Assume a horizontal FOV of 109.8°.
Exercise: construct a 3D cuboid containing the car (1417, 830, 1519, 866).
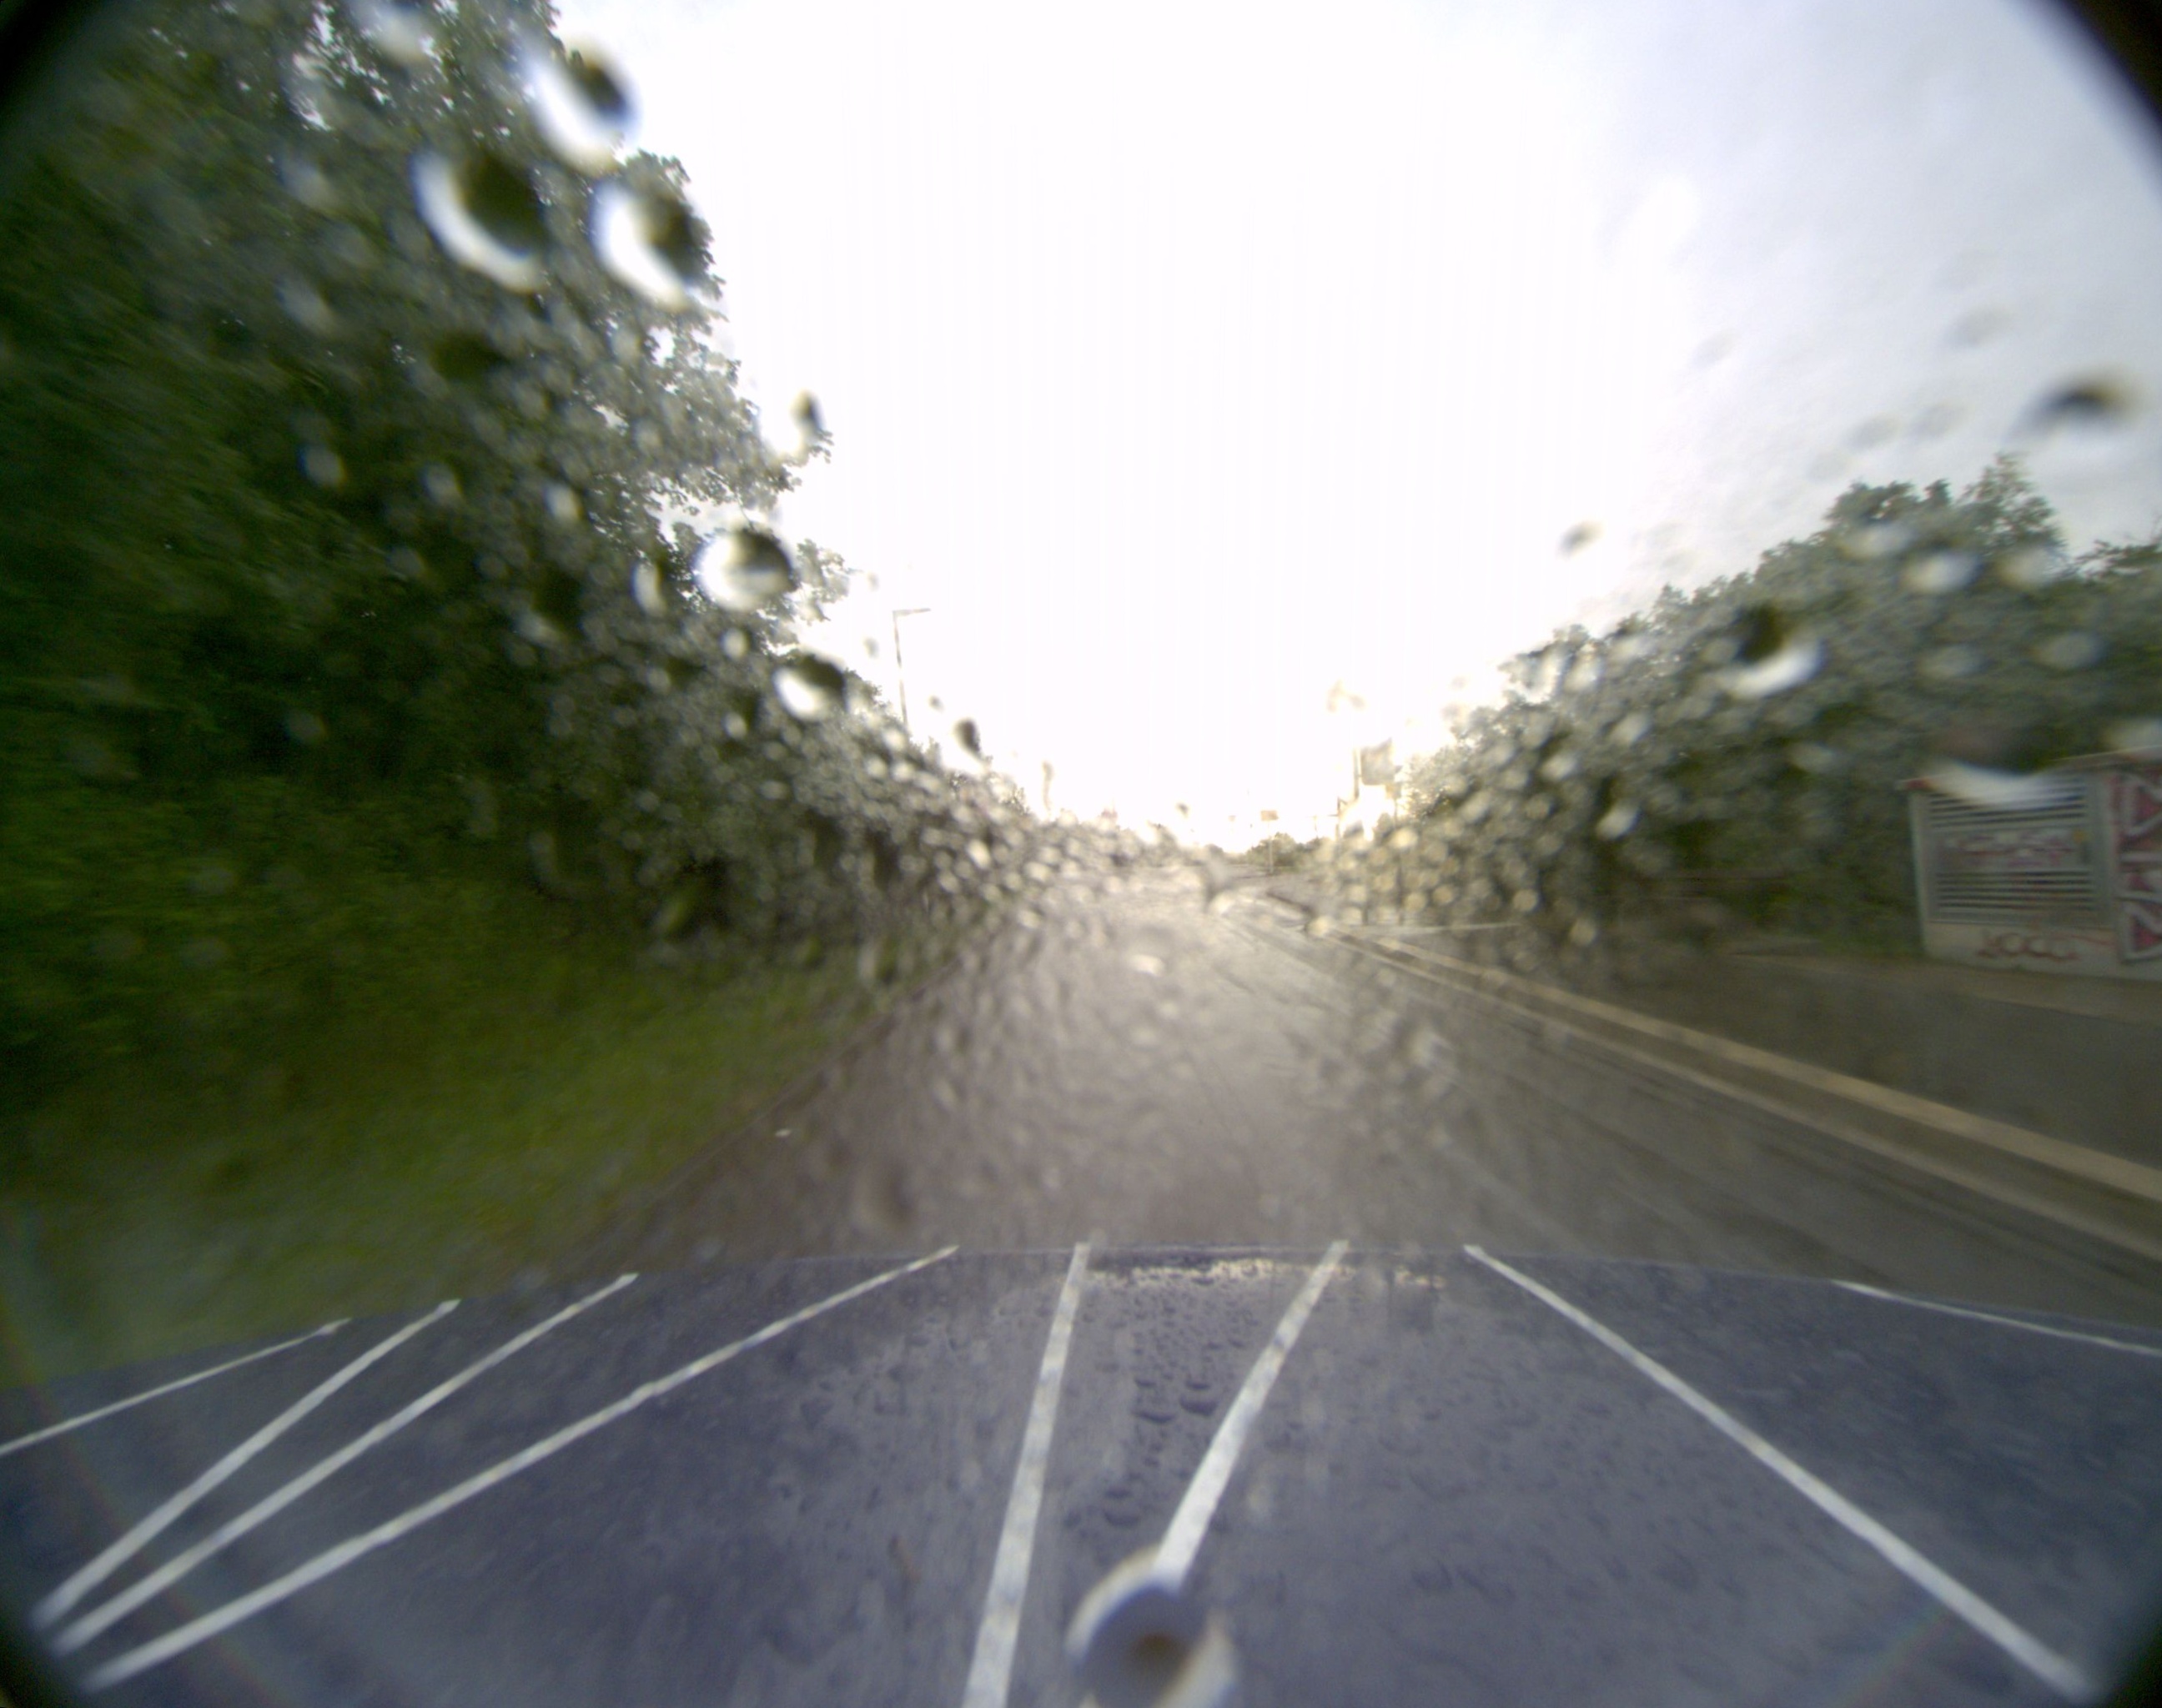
[{"bbox_3d":[17.143,-0.230,33.953,1.999,1.406,4.427,-2,0,-5],"label":"car"}]
